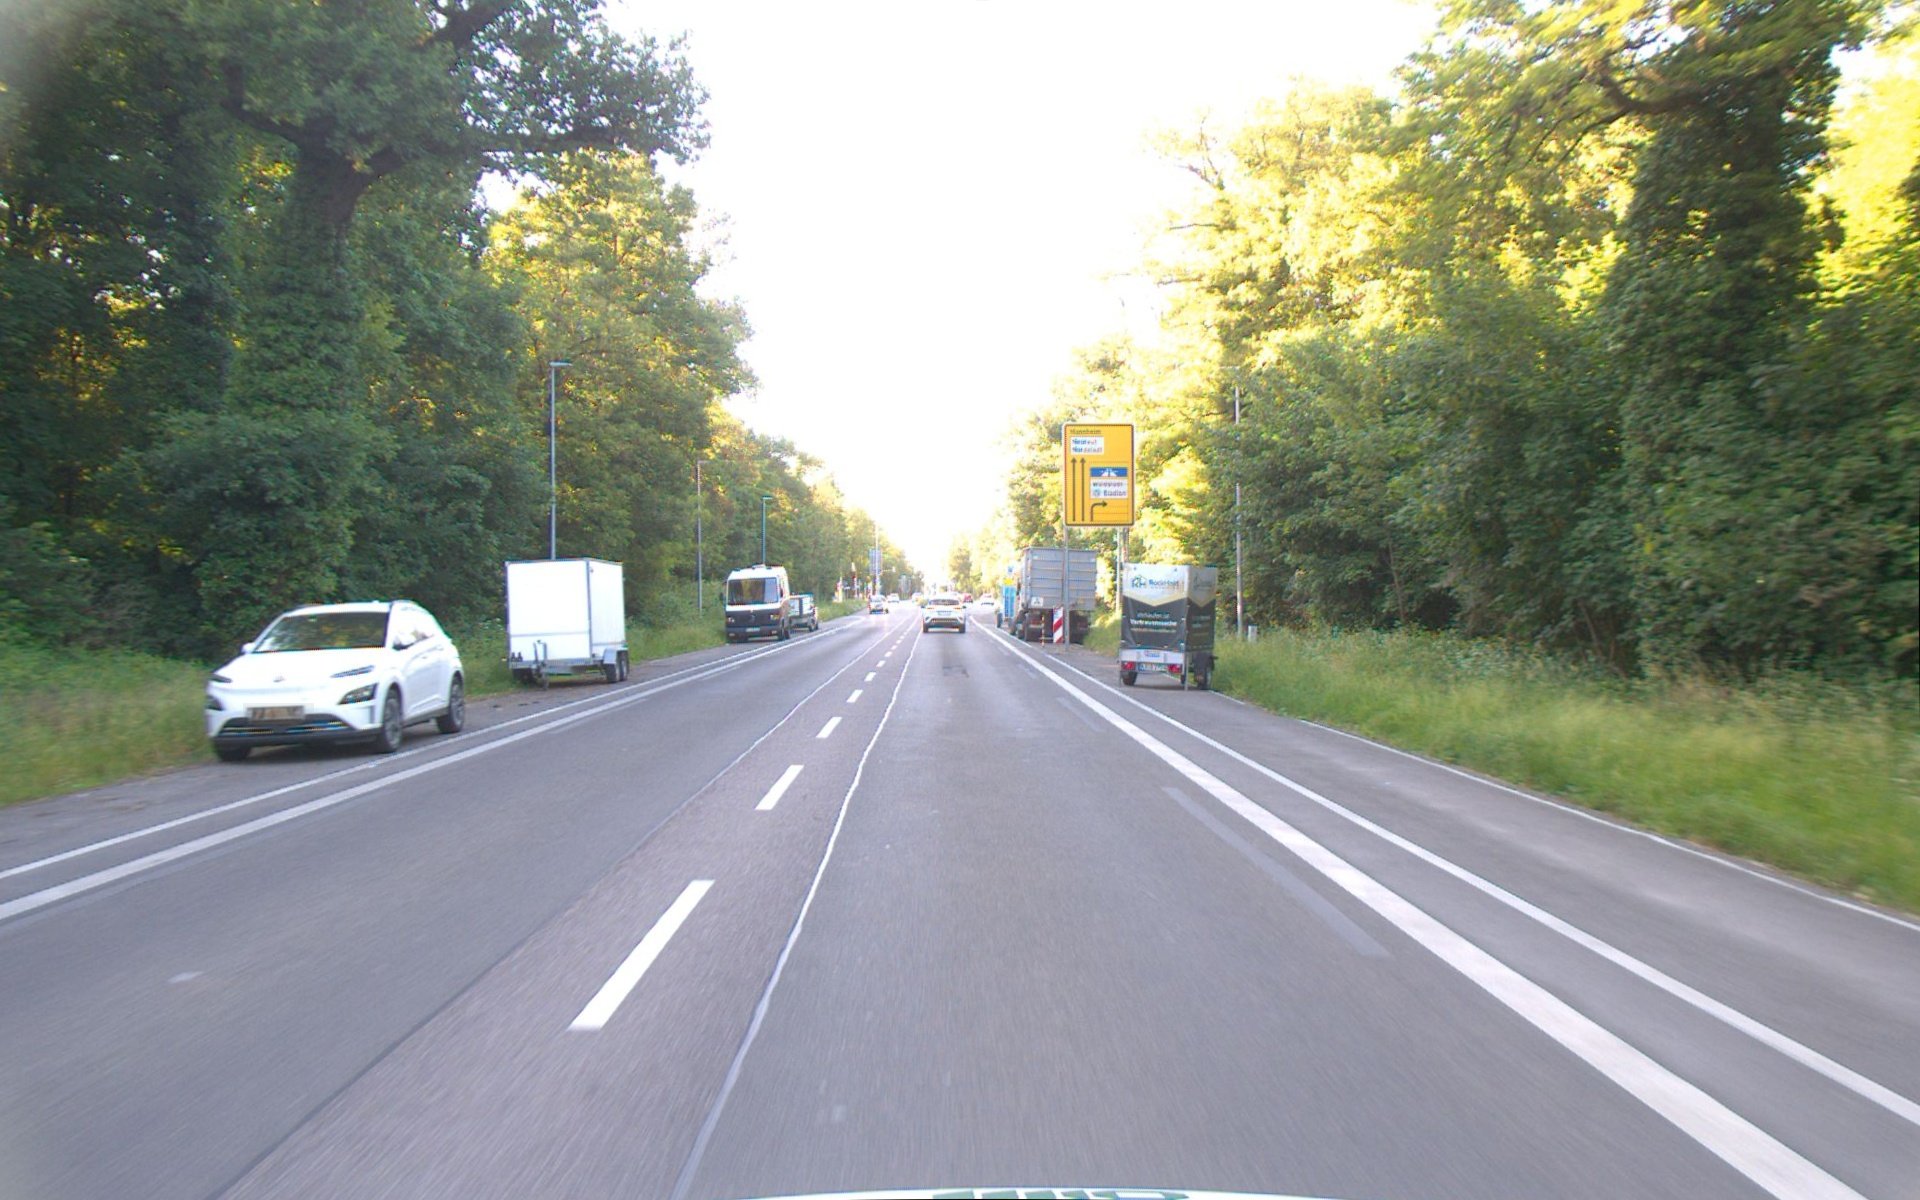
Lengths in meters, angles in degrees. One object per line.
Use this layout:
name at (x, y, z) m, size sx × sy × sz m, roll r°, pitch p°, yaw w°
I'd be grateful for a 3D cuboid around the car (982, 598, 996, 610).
car at (4.133, 0.508, 234.094) m, size 1.953 × 1.646 × 4.000 m, roll 1°, pitch 0°, yaw 0°

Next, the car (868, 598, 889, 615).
car at (-7.068, 0.562, 143.723) m, size 1.644 × 1.440 × 4.000 m, roll -1°, pitch 0°, yaw 0°

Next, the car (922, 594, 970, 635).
car at (-0.615, 0.609, 70.143) m, size 1.953 × 1.668 × 3.999 m, roll -1°, pitch 0°, yaw -1°

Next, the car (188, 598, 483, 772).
car at (-6.713, 0.828, 18.288) m, size 1.778 × 1.599 × 4.204 m, roll -2°, pitch 0°, yaw -3°

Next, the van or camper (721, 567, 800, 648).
van or camper at (-7.477, 0.247, 62.447) m, size 2.255 × 2.816 × 5.556 m, roll -3°, pitch 0°, yaw -1°

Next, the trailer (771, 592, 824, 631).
trailer at (-7.423, 0.532, 75.950) m, size 1.439 × 1.688 × 3.368 m, roll -2°, pitch -1°, yaw 12°

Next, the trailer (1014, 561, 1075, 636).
trailer at (3.424, -0.056, 67.918) m, size 2.226 × 2.894 × 5.207 m, roll 1°, pitch 0°, yaw 0°

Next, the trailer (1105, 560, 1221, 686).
trailer at (3.686, 0.392, 29.757) m, size 1.580 × 2.149 × 2.397 m, roll 0°, pitch 0°, yaw 20°

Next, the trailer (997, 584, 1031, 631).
trailer at (2.683, 0.353, 82.813) m, size 1.469 × 2.274 × 4.549 m, roll 1°, pitch 0°, yaw 0°

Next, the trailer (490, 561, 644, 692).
trailer at (-7.476, 0.479, 31.840) m, size 2.032 × 2.333 × 3.487 m, roll -1°, pitch 0°, yaw 1°

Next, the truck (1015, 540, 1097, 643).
truck at (3.358, -0.272, 59.361) m, size 2.454 × 3.425 × 7.106 m, roll 1°, pitch 0°, yaw 0°
